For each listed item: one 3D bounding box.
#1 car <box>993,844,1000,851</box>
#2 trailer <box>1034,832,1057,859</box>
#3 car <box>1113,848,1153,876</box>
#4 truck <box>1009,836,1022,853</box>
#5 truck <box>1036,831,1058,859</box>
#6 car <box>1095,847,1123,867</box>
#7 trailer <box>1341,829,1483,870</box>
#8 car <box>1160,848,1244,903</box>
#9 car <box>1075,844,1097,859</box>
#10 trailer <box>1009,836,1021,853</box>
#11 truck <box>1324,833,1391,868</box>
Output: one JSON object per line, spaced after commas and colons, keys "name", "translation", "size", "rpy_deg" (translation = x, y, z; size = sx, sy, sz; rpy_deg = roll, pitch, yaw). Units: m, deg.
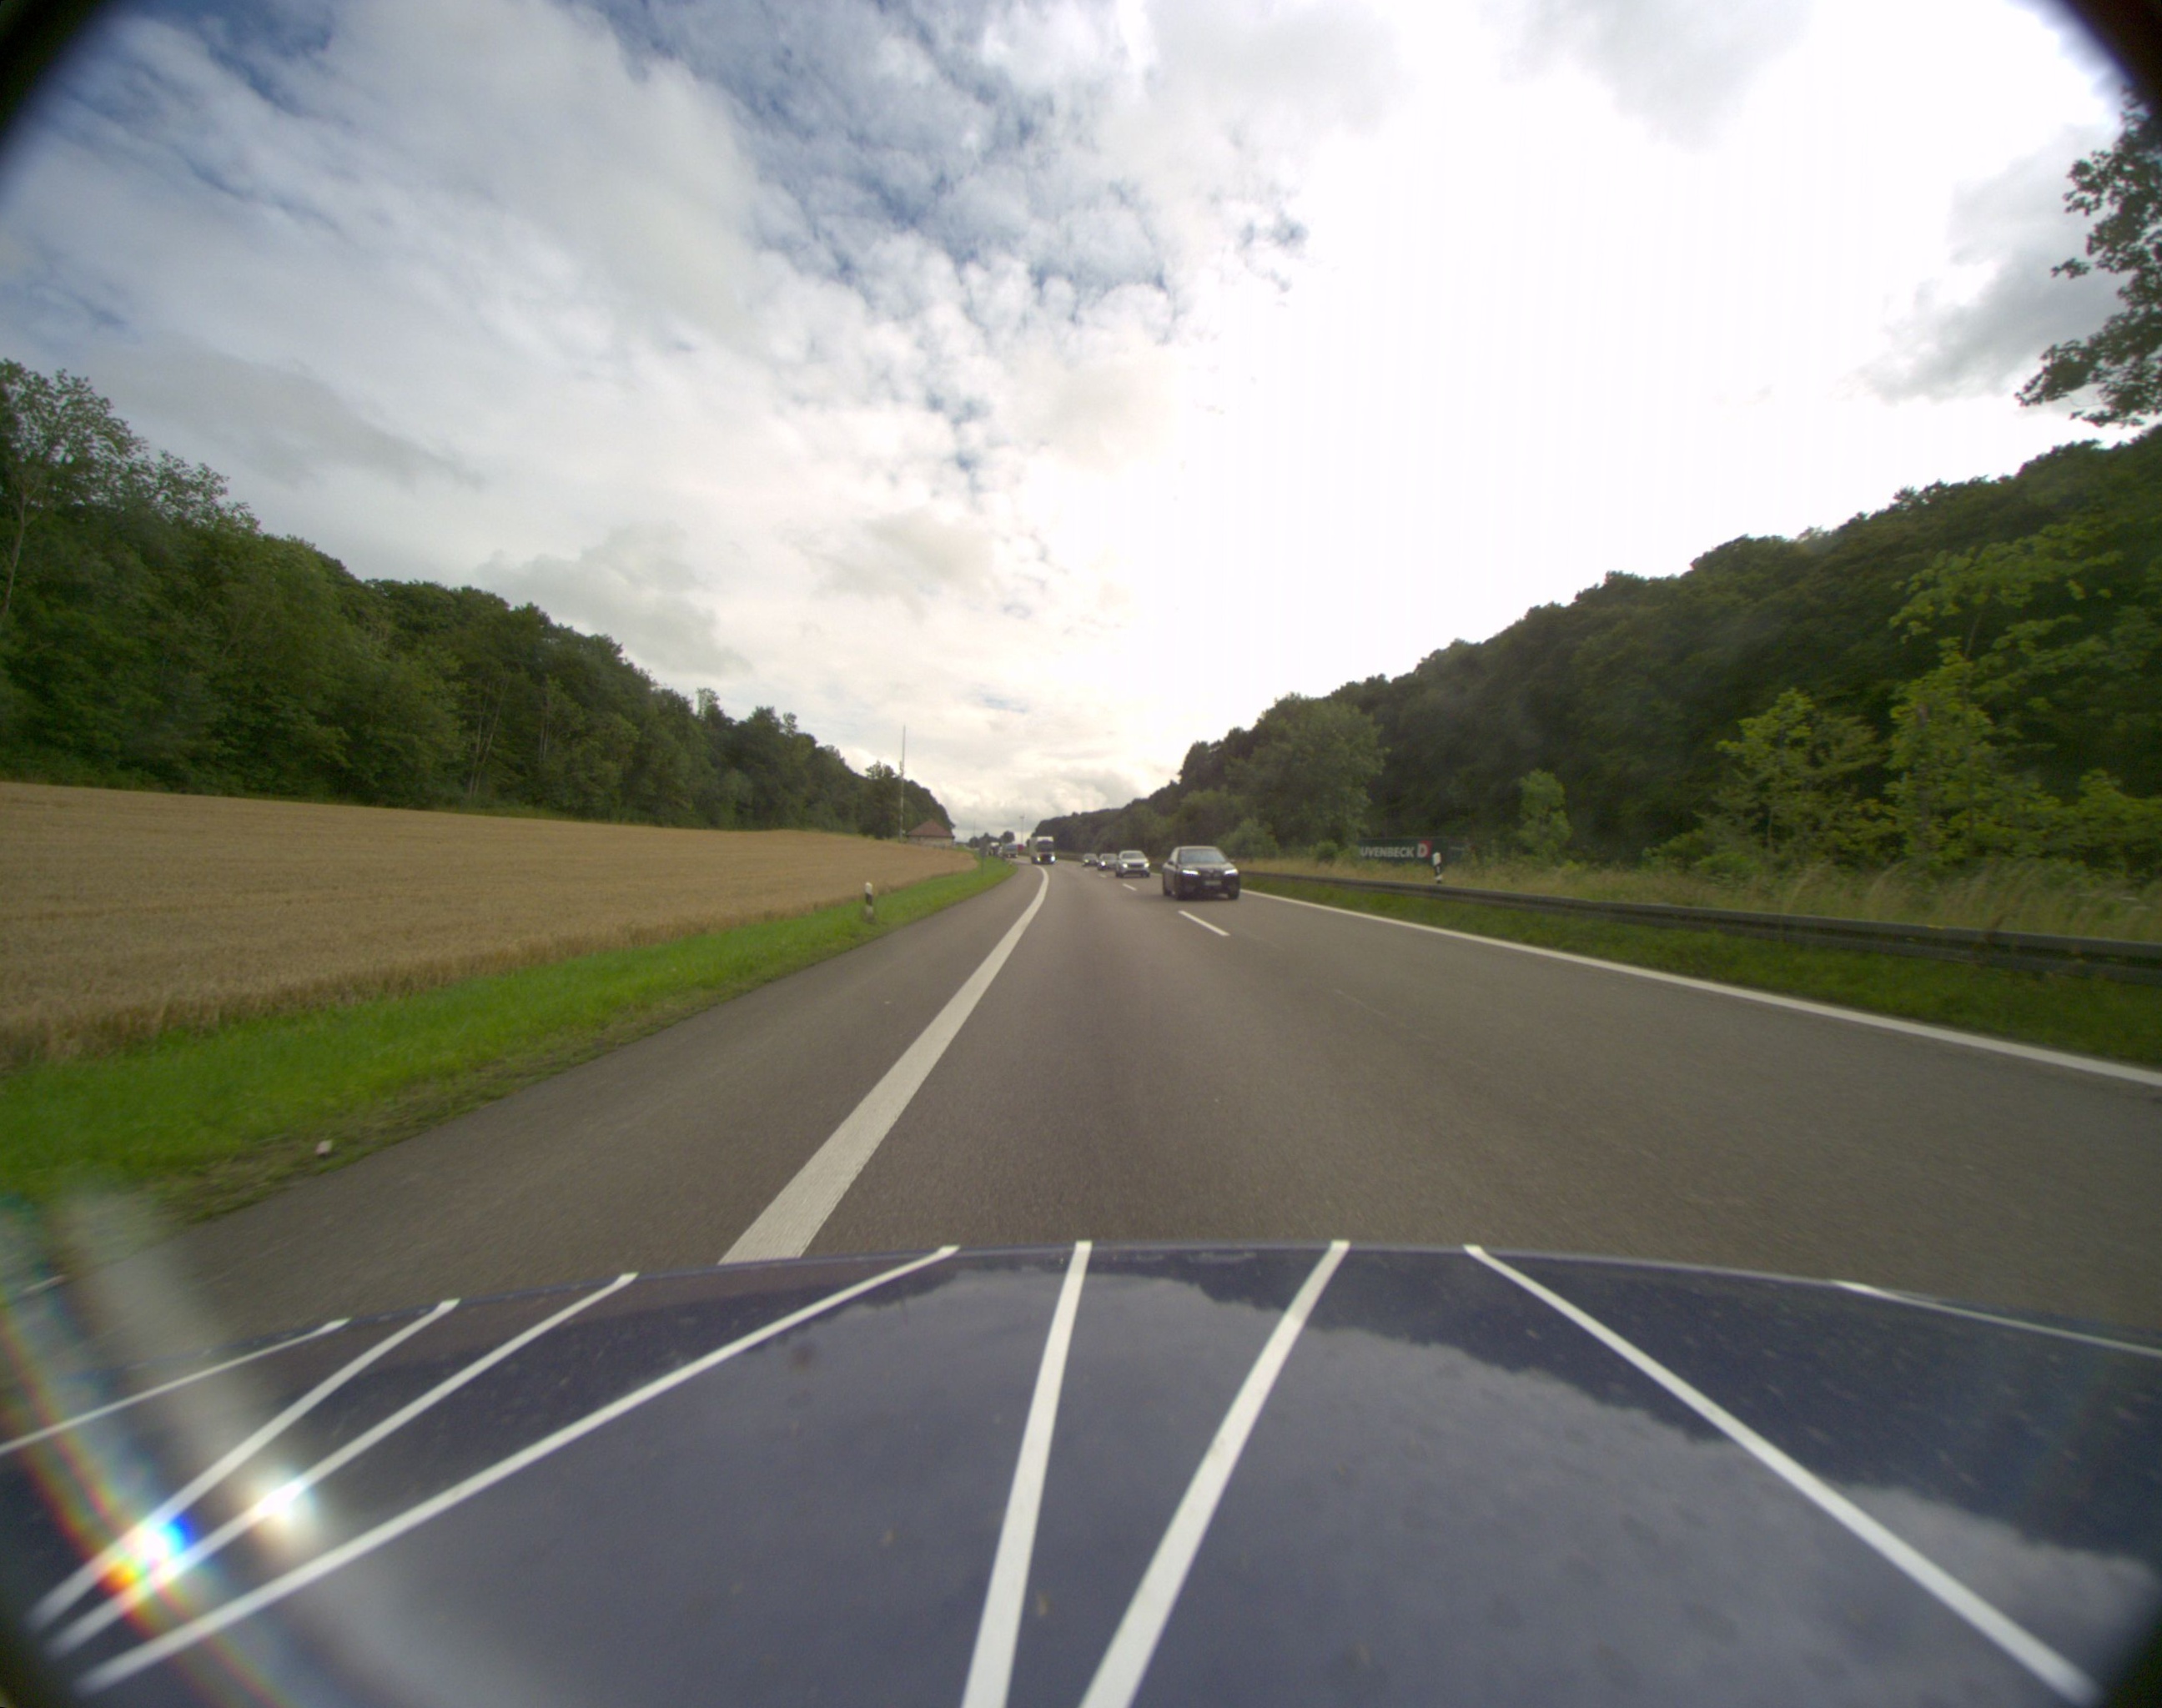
{"name": "car", "translation": [-27.301, -2.061, 245.856], "size": [1.999, 2.002, 3.998], "rpy_deg": [-2, 1, -4]}
{"name": "trailer", "translation": [-5.469, -1.289, 114.702], "size": [2.788, 3.932, 11.288], "rpy_deg": [-1, 1, -6]}
{"name": "car", "translation": [3.253, 0.464, 48.203], "size": [1.999, 1.656, 4.413], "rpy_deg": [-1, 1, -3]}
{"name": "truck", "translation": [-16.188, -2.330, 187.409], "size": [2.797, 3.949, 5.936], "rpy_deg": [-1, 1, -7]}
{"name": "truck", "translation": [-4.956, -1.260, 109.641], "size": [2.797, 3.949, 5.936], "rpy_deg": [-1, 1, -6]}
{"name": "car", "translation": [2.440, 0.218, 67.156], "size": [1.999, 1.656, 4.413], "rpy_deg": [-1, 1, -4]}
{"name": "trailer", "translation": [28.611, -0.345, 66.972], "size": [3.164, 3.201, 13.794], "rpy_deg": [-2, 0, -17]}
{"name": "car", "translation": [3.882, 0.632, 25.178], "size": [1.999, 1.656, 4.414], "rpy_deg": [-1, 1, -1]}
{"name": "car", "translation": [0.523, -0.274, 88.505], "size": [2.000, 1.656, 4.411], "rpy_deg": [-1, 1, -6]}
{"name": "trailer", "translation": [-16.805, -2.382, 192.719], "size": [2.788, 3.932, 11.288], "rpy_deg": [-1, 1, -7]}
{"name": "truck", "translation": [26.632, -0.311, 73.480], "size": [3.164, 3.201, 5.723], "rpy_deg": [-2, 0, -17]}
